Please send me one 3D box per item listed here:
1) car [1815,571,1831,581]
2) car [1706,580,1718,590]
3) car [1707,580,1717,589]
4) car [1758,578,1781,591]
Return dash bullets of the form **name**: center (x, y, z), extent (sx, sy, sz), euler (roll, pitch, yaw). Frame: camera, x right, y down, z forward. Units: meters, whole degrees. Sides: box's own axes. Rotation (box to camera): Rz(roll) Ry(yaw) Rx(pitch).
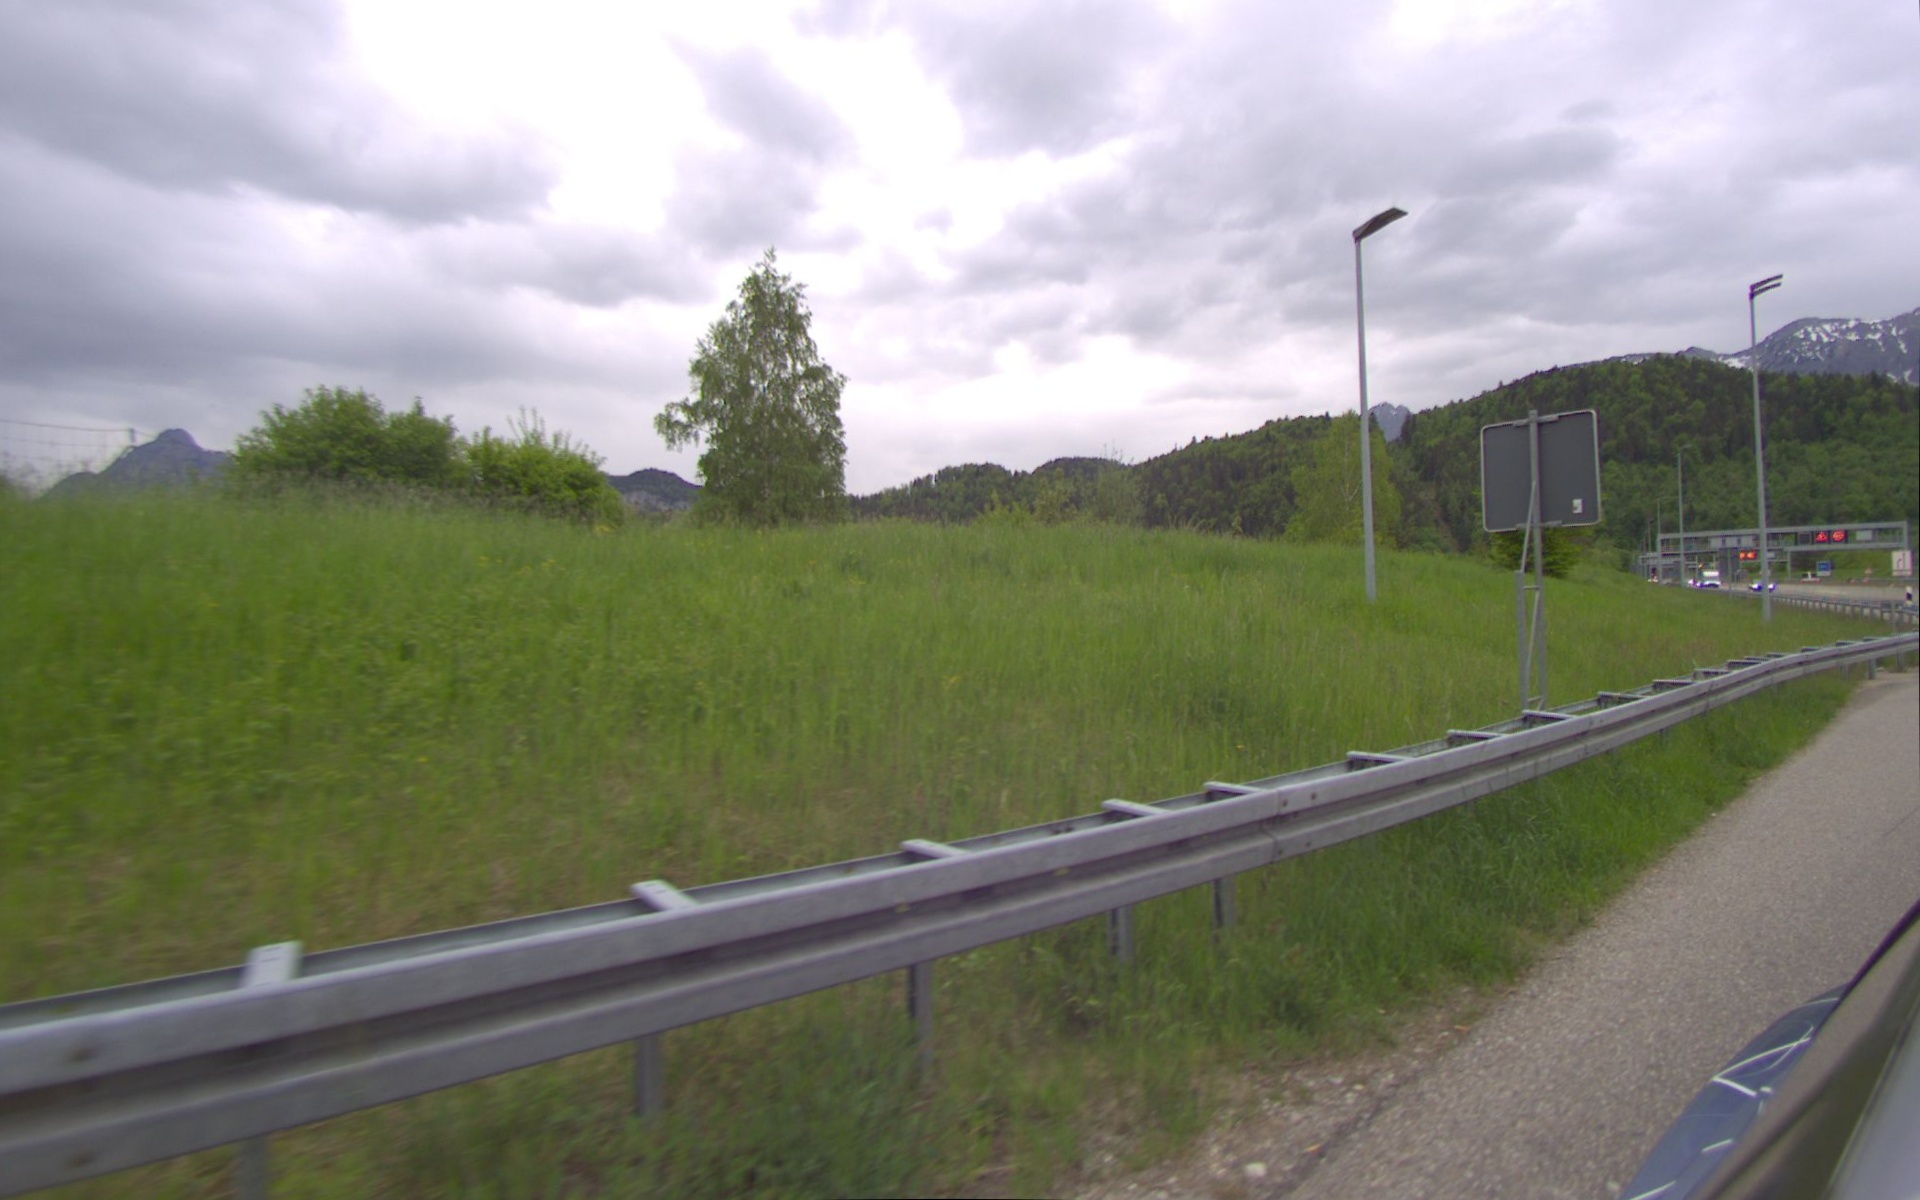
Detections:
- **car**: center (148.778, -4.140, 174.447), extent (1.904, 1.719, 3.449), euler (0, 1, 38)
- **car**: center (130.720, -2.674, 175.888), extent (1.623, 1.719, 3.449), euler (0, 1, 38)
- **car**: center (146.149, -3.019, 196.695), extent (1.623, 1.719, 3.449), euler (0, 1, 38)
- **car**: center (88.288, -1.704, 110.373), extent (1.653, 1.354, 3.746), euler (1, 1, 34)
